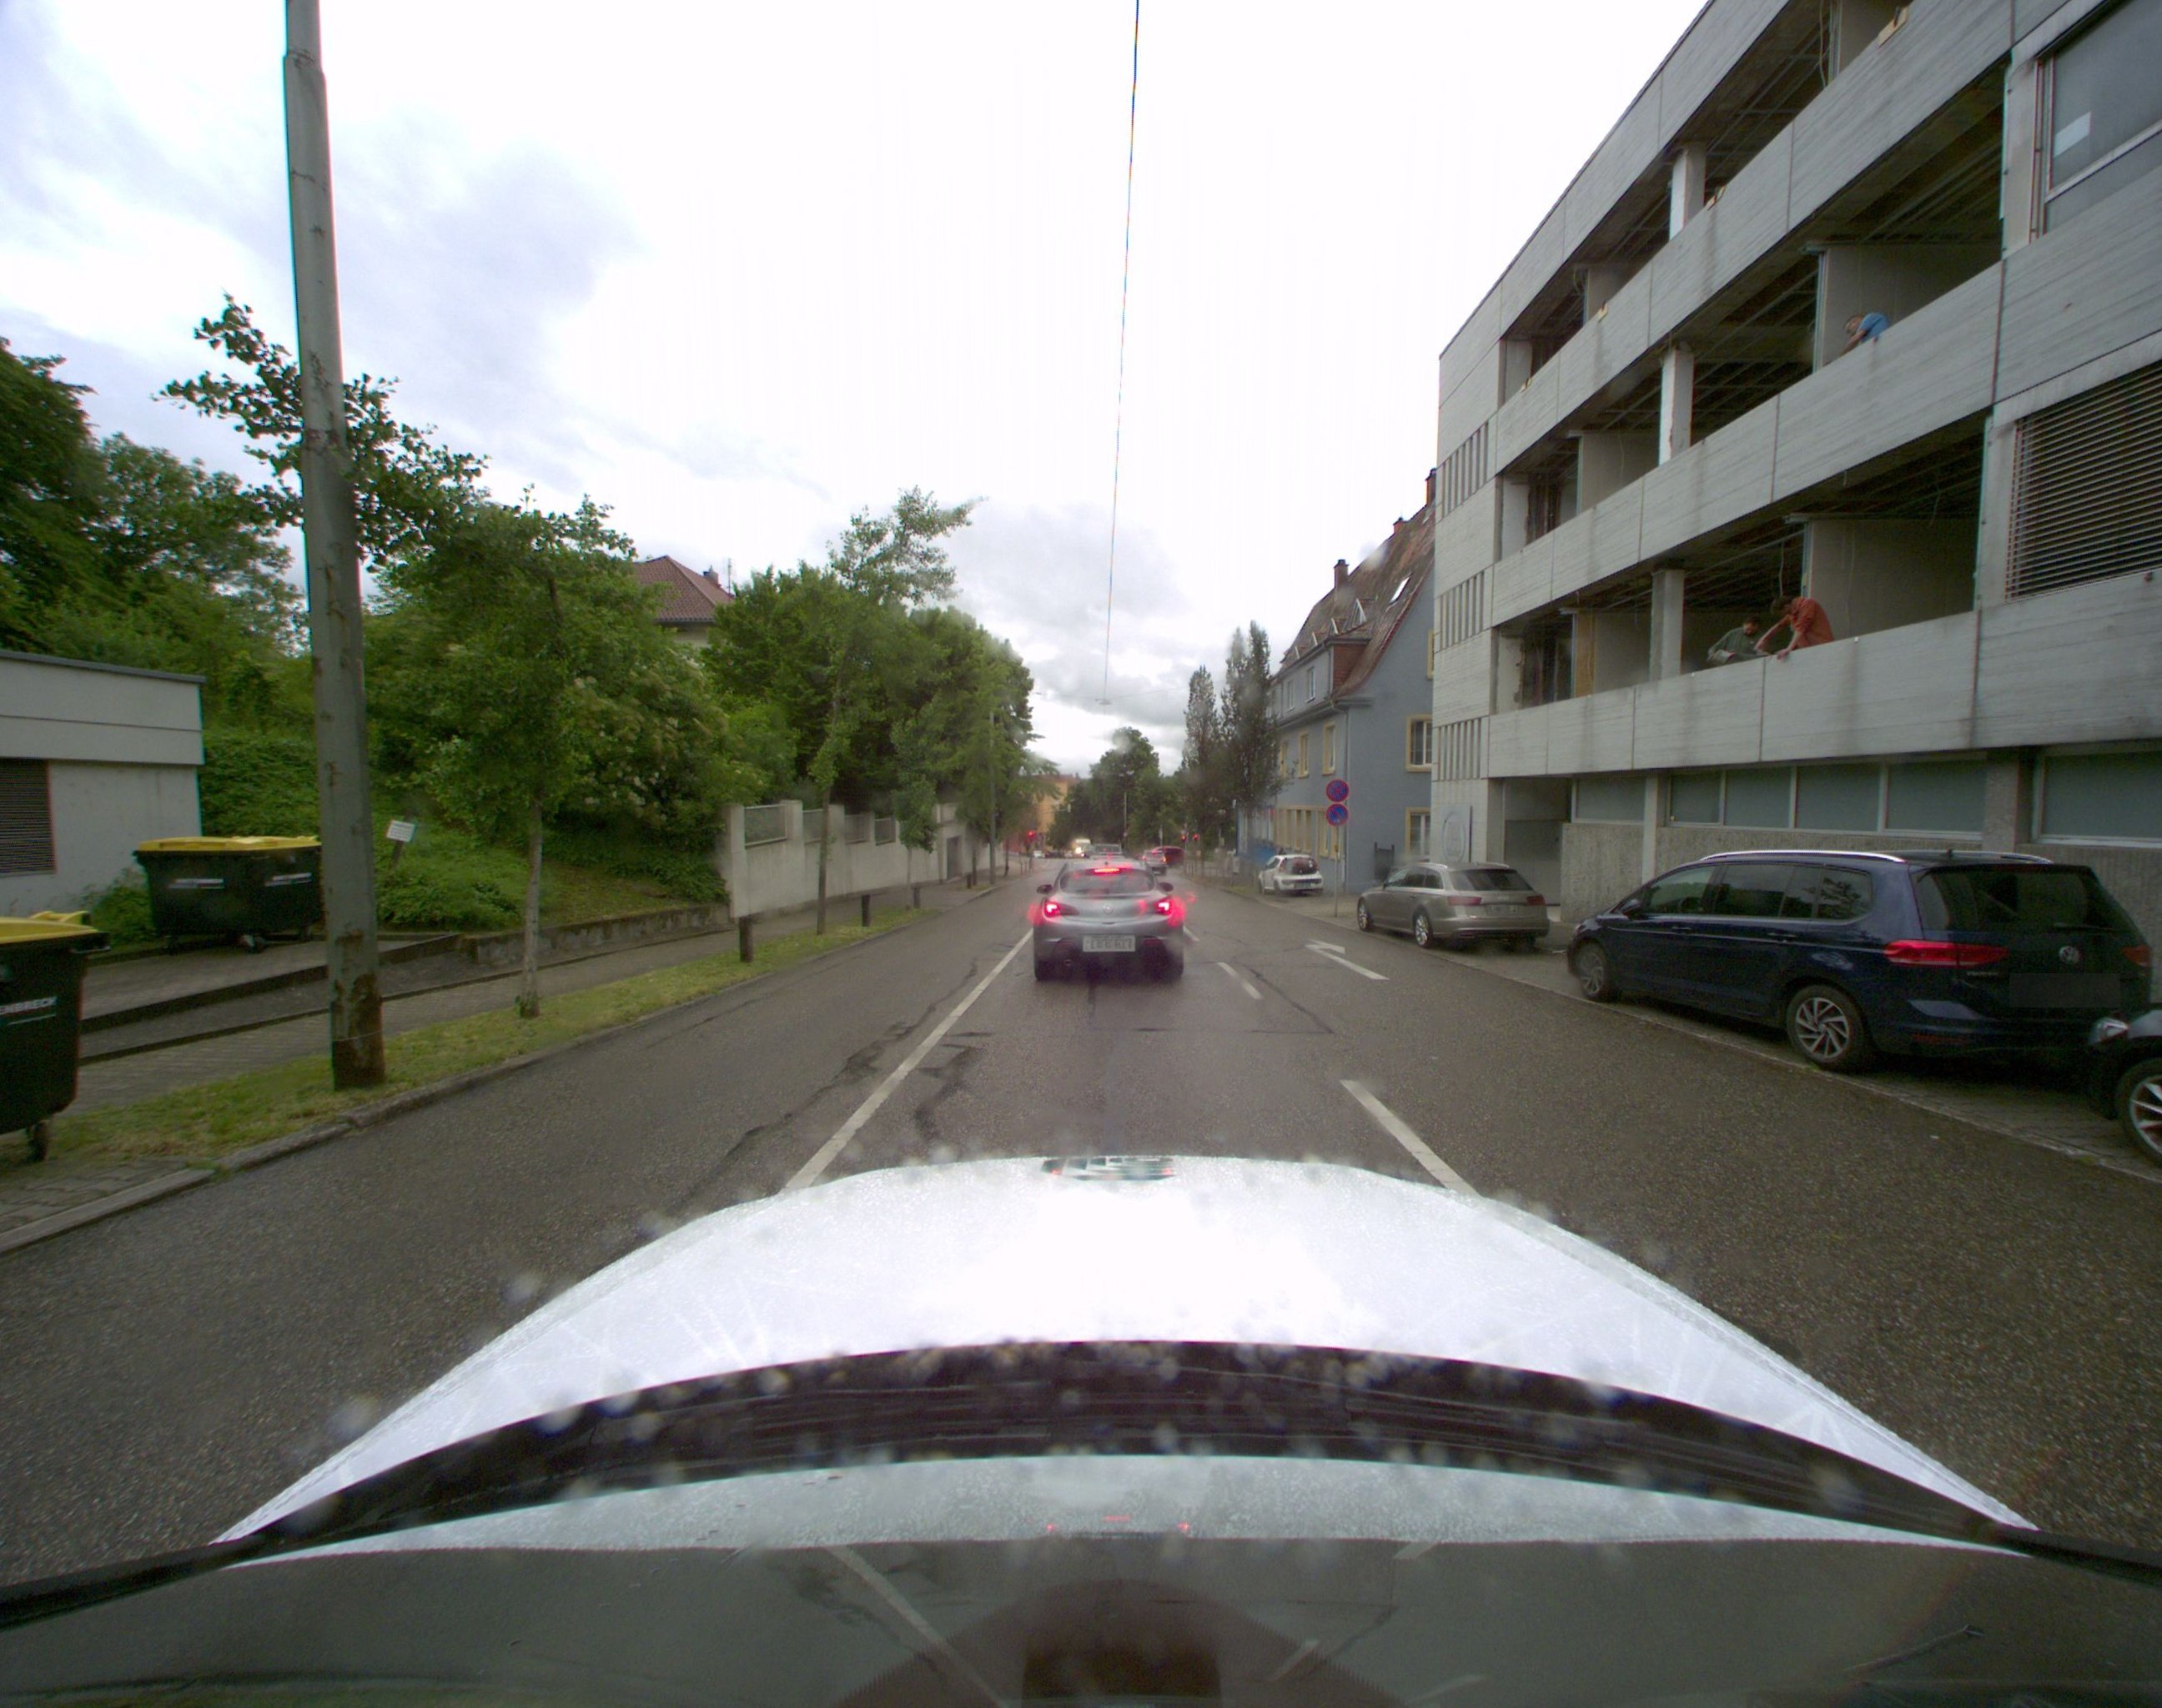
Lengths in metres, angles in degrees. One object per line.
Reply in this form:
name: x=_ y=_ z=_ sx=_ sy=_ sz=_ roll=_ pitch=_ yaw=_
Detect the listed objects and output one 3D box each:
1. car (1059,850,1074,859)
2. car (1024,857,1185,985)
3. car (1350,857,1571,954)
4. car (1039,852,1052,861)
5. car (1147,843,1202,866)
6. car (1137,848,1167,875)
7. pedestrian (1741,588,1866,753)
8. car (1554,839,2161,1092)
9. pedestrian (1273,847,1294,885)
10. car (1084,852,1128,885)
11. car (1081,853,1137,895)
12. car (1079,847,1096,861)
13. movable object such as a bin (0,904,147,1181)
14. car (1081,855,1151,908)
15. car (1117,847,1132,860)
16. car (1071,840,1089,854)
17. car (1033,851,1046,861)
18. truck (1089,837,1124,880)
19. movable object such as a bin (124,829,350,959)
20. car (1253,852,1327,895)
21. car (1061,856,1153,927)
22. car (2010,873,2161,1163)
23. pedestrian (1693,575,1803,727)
car: x=-2.522 y=0.034 z=140.748 sx=1.726 sy=1.543 sz=3.858 roll=-1 pitch=0 yaw=-16
car: x=0.270 y=0.770 z=11.206 sx=1.831 sy=1.434 sz=3.879 roll=0 pitch=0 yaw=0
car: x=6.640 y=0.806 z=14.908 sx=1.956 sy=1.448 sz=4.526 roll=-1 pitch=0 yaw=0
car: x=-6.896 y=0.506 z=159.624 sx=1.726 sy=1.638 sz=3.858 roll=-1 pitch=0 yaw=-16
car: x=8.088 y=0.018 z=70.673 sx=4.446 sy=1.828 sz=1.746 roll=-2 pitch=-1 yaw=-11
car: x=4.870 y=0.497 z=56.294 sx=1.717 sy=1.714 sz=3.879 roll=-1 pitch=0 yaw=0
pedestrian: x=9.602 y=-2.407 z=10.861 sx=0.904 sy=2.014 sz=0.861 roll=0 pitch=-1 yaw=1
car: x=6.312 y=0.709 z=7.302 sx=1.723 sy=1.599 sz=4.160 roll=-1 pitch=0 yaw=0
pedestrian: x=9.346 y=0.526 z=37.556 sx=0.780 sy=1.729 sz=0.651 roll=1 pitch=0 yaw=1
car: x=1.148 y=0.645 z=38.335 sx=1.955 sy=1.448 sz=4.305 roll=1 pitch=0 yaw=1
car: x=1.017 y=0.697 z=30.672 sx=1.955 sy=1.448 sz=4.305 roll=1 pitch=0 yaw=1
car: x=0.779 y=-0.001 z=93.905 sx=1.864 sy=1.638 sz=3.880 roll=-1 pitch=0 yaw=1
movable object such as a bin: x=-5.966 y=0.949 z=4.039 sx=1.296 sy=1.306 sz=1.153 roll=0 pitch=1 yaw=-7
car: x=1.019 y=0.778 z=25.287 sx=1.955 sy=1.448 sz=4.305 roll=1 pitch=0 yaw=1
car: x=5.855 y=-0.034 z=110.093 sx=1.718 sy=1.638 sz=3.877 roll=-1 pitch=0 yaw=-2
car: x=-0.145 y=-0.904 z=101.575 sx=1.721 sy=1.638 sz=3.870 roll=-1 pitch=0 yaw=-7
car: x=-6.338 y=0.224 z=123.488 sx=1.717 sy=1.460 sz=3.880 roll=-1 pitch=0 yaw=1
truck: x=1.478 y=0.241 z=48.337 sx=1.955 sy=2.429 sz=4.936 roll=1 pitch=0 yaw=1
movable object such as a bin: x=-10.014 y=0.439 z=9.765 sx=1.296 sy=1.363 sz=1.225 roll=0 pitch=6 yaw=-5
car: x=7.561 y=0.674 z=29.779 sx=1.717 sy=1.448 sz=3.880 roll=-1 pitch=0 yaw=1
car: x=0.589 y=0.815 z=19.571 sx=1.955 sy=1.448 sz=4.305 roll=1 pitch=0 yaw=1
car: x=6.243 y=0.836 z=2.666 sx=1.740 sy=1.448 sz=4.256 roll=-1 pitch=0 yaw=4
pedestrian: x=9.753 y=-2.940 z=11.949 sx=0.904 sy=2.014 sz=0.861 roll=0 pitch=-1 yaw=1
